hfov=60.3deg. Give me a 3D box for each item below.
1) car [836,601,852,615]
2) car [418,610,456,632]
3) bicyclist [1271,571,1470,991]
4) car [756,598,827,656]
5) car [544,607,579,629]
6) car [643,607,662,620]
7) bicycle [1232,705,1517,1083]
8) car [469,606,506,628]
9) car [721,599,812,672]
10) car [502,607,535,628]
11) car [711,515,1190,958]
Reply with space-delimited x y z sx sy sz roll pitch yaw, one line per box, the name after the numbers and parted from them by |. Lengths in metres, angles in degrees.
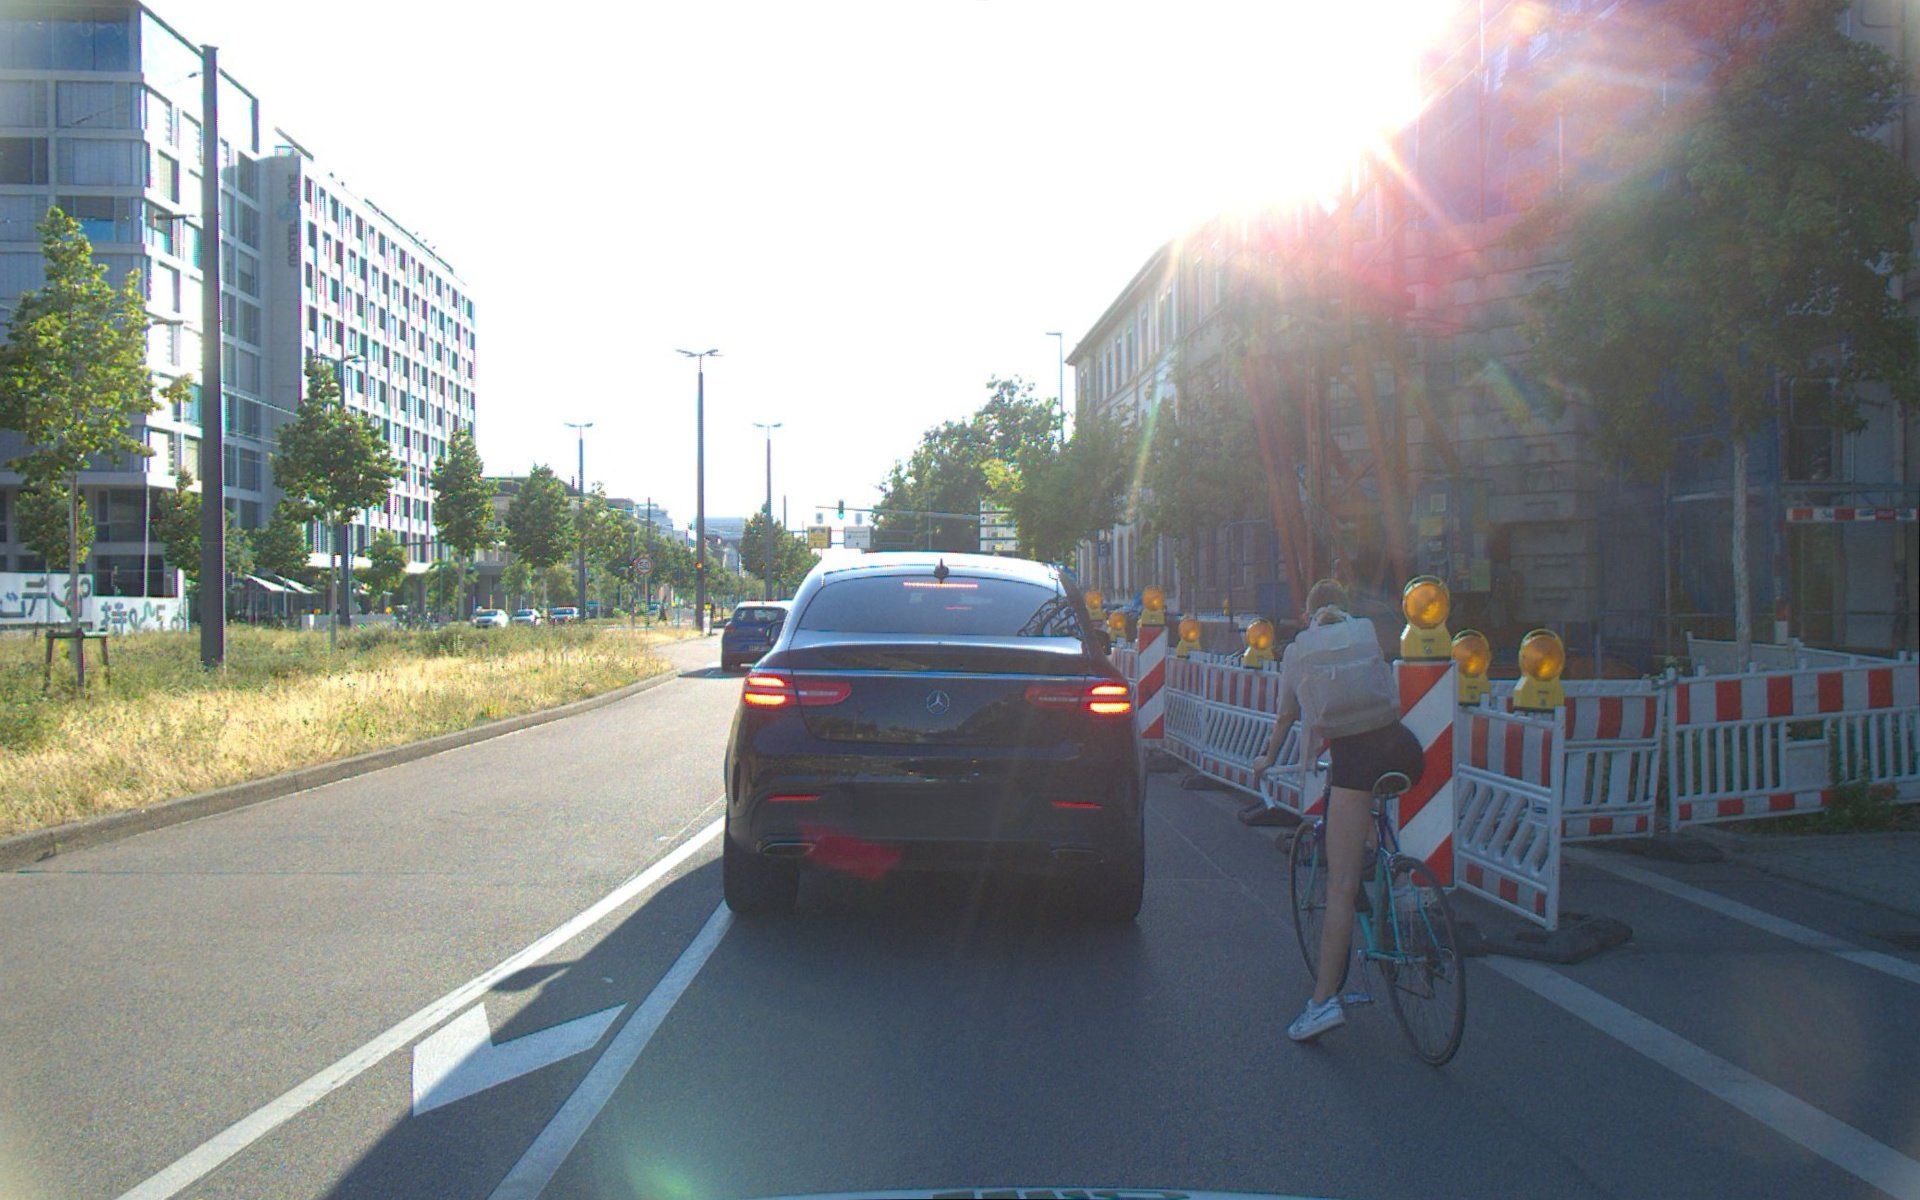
-12.850 0.905 183.703 1.674 1.467 3.580 1 0 -3 | car
-36.972 1.472 116.991 1.674 1.467 3.580 1 0 -3 | car
1.450 0.615 5.914 0.512 1.420 0.614 1 -1 -4 | bicyclist
-4.436 0.690 43.913 1.674 1.467 3.580 1 0 -3 | car
-27.554 1.233 114.339 1.674 1.467 3.580 1 0 -3 | car
-36.166 1.549 194.433 1.674 1.467 3.580 1 0 -3 | car
1.441 0.975 6.034 0.502 1.070 1.724 1 0 -3 | bicycle
-32.792 1.146 114.938 1.674 1.467 3.580 1 0 -3 | car
-4.133 0.740 35.757 1.674 1.467 3.580 1 0 -3 | car
-33.318 1.313 124.939 1.674 1.467 3.580 1 0 -3 | car
-0.064 0.573 8.843 1.953 1.803 3.999 1 0 -1 | car
